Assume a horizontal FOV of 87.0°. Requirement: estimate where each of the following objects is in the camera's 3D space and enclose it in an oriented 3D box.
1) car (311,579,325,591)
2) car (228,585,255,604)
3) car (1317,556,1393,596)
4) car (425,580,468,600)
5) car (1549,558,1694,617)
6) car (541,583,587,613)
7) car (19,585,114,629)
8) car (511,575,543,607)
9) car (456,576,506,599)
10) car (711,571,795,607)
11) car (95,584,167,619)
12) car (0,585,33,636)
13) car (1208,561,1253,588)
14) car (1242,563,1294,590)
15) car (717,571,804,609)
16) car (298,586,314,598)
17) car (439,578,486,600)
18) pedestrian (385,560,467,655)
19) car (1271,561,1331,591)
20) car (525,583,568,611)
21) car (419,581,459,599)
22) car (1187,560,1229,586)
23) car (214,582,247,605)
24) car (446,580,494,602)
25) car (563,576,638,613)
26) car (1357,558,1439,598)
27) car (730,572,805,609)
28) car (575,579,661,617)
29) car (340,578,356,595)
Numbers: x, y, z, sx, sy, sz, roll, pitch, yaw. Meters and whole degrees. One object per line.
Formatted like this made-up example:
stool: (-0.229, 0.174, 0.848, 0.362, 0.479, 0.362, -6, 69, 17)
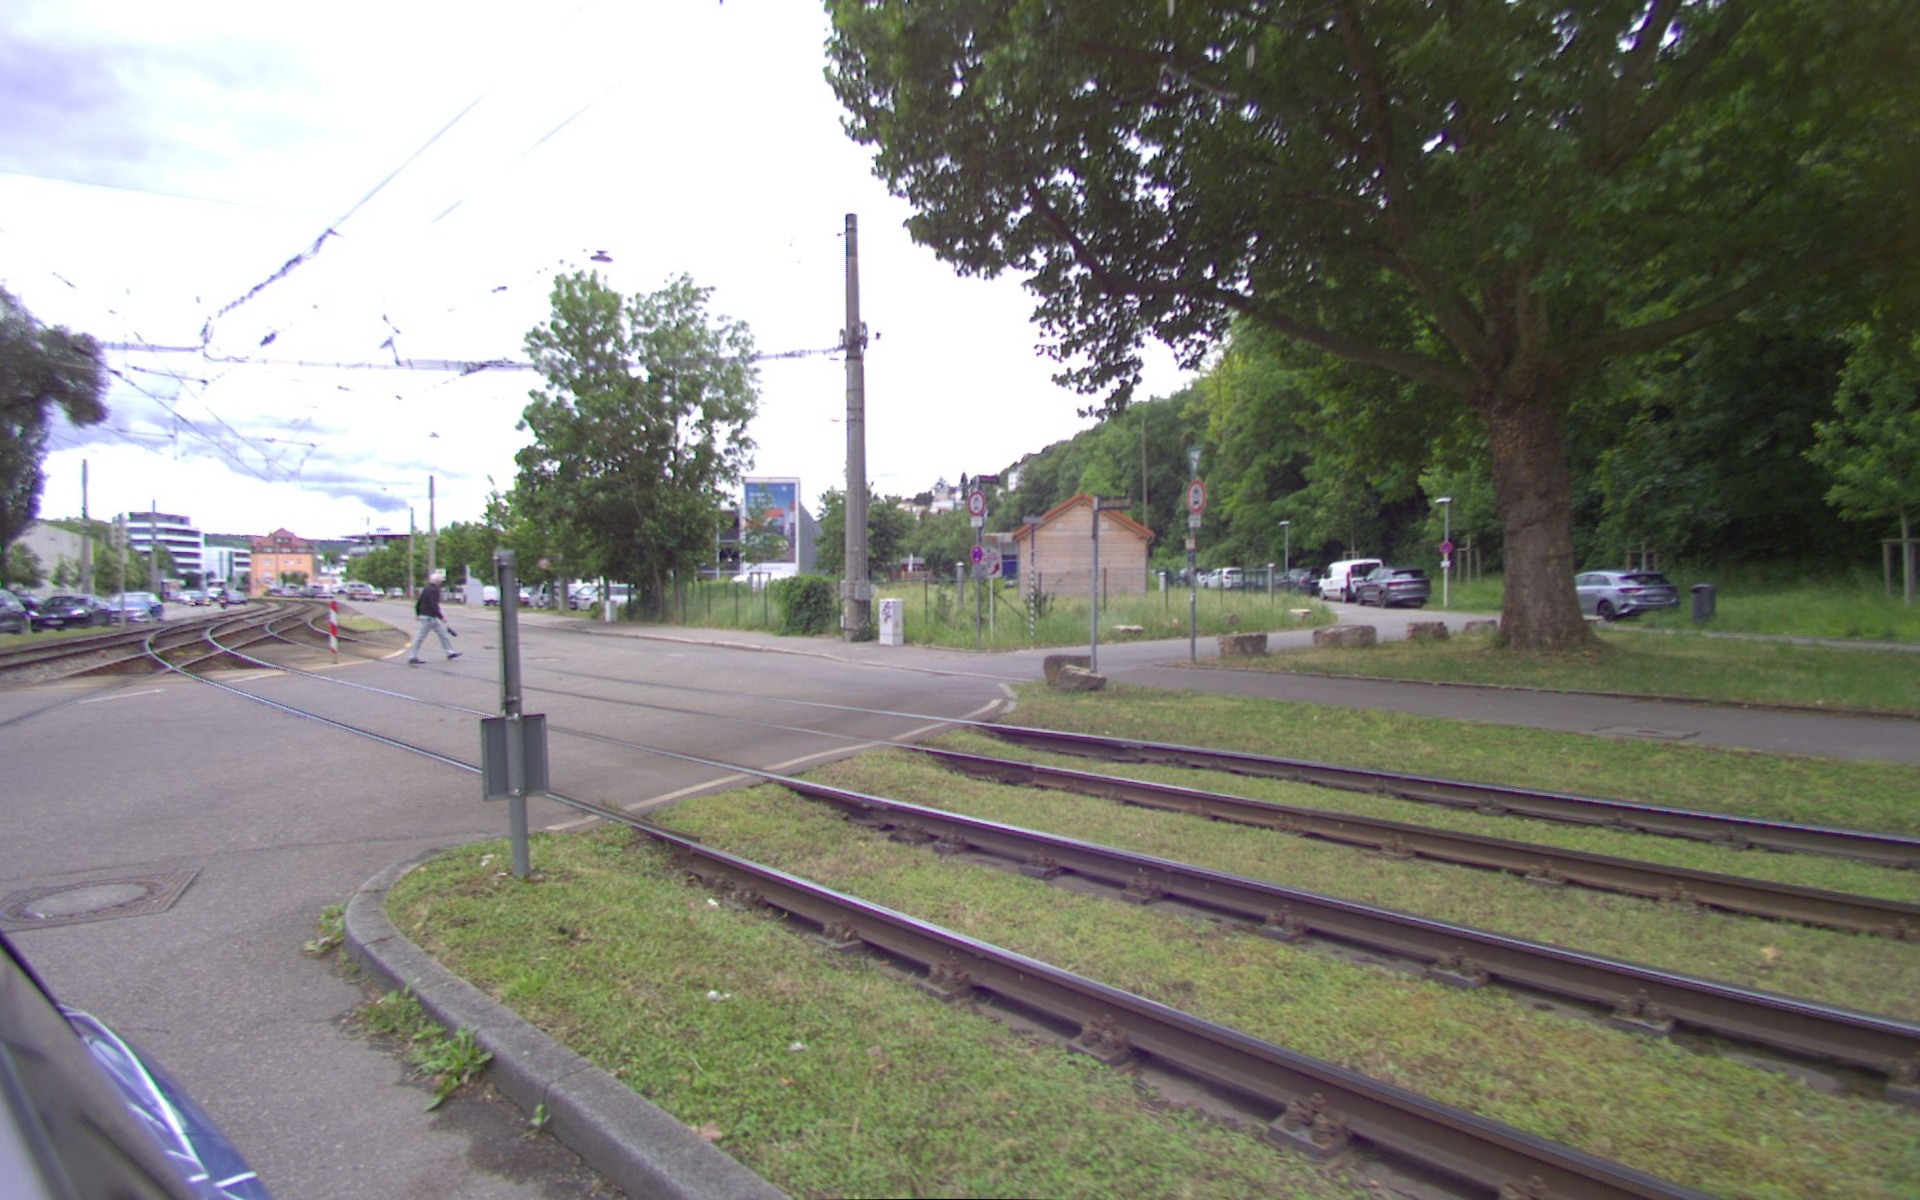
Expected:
car: (-116.032, -2.743, 182.847, 1.967, 2.028, 4.011, -4, 3, -34)
car: (-71.684, -0.549, 100.973, 1.839, 1.762, 4.012, -4, 3, -32)
car: (17.783, -1.135, 45.703, 1.883, 1.624, 3.682, -3, 3, 0)
car: (-66.719, -1.311, 131.520, 4.564, 2.225, 2.114, -5, 3, -35)
car: (18.313, -0.400, 28.213, 1.677, 1.434, 3.504, -3, 3, 0)
car: (-30.314, -0.199, 77.398, 2.107, 2.131, 4.789, -4, 3, -34)
car: (-36.128, 0.218, 41.055, 1.966, 1.567, 4.575, -3, 3, -30)
car: (-43.587, -0.937, 101.872, 2.282, 3.033, 6.179, -4, 3, -28)
car: (-52.627, -1.418, 111.295, 4.564, 2.225, 2.114, -5, 3, -35)
car: (-15.299, -0.828, 75.055, 5.763, 2.284, 2.056, -3, 2, -5)
car: (-41.188, 0.025, 50.389, 1.966, 1.567, 4.575, -3, 3, -30)
car: (-31.632, 0.376, 32.333, 1.966, 1.567, 4.575, -3, 3, -30)
car: (17.609, -1.710, 66.003, 1.732, 1.624, 3.684, -3, 3, -3)
car: (17.495, -1.369, 57.596, 1.733, 1.387, 3.682, -3, 3, 0)
car: (-14.048, -0.723, 71.476, 5.774, 2.284, 2.056, -3, 2, -5)
car: (-106.460, -1.313, 164.772, 1.874, 1.730, 4.150, -3, 4, -29)
car: (-58.857, -1.323, 119.717, 4.564, 2.225, 2.114, -5, 3, -35)
pedestrian: (-10.510, 0.126, 19.938, 0.812, 1.773, 1.107, -1, 3, 37)
car: (17.552, -1.274, 52.242, 1.733, 1.387, 3.682, -3, 3, 0)
car: (-33.815, -0.251, 82.647, 2.108, 2.131, 4.788, -5, 3, -36)
car: (-72.083, -1.444, 140.080, 4.564, 2.225, 2.114, -5, 3, -35)
car: (17.243, -1.902, 70.517, 1.732, 1.624, 3.684, -3, 3, -3)
car: (-60.505, -0.557, 83.976, 1.839, 1.762, 4.012, -4, 3, -32)
car: (-55.873, -1.014, 115.364, 4.564, 2.225, 2.114, -5, 3, -35)
car: (-25.817, -0.419, 72.762, 4.696, 2.284, 1.986, -4, 3, -31)
car: (17.482, -0.933, 40.570, 1.677, 1.434, 3.504, -3, 3, 0)
car: (-14.903, -0.755, 78.536, 5.575, 2.478, 1.984, -3, 2, -8)
car: (-23.552, -0.176, 69.776, 5.183, 2.284, 2.006, -4, 3, -31)
car: (-119.418, -2.652, 197.577, 2.371, 2.969, 4.764, -4, 3, -30)
